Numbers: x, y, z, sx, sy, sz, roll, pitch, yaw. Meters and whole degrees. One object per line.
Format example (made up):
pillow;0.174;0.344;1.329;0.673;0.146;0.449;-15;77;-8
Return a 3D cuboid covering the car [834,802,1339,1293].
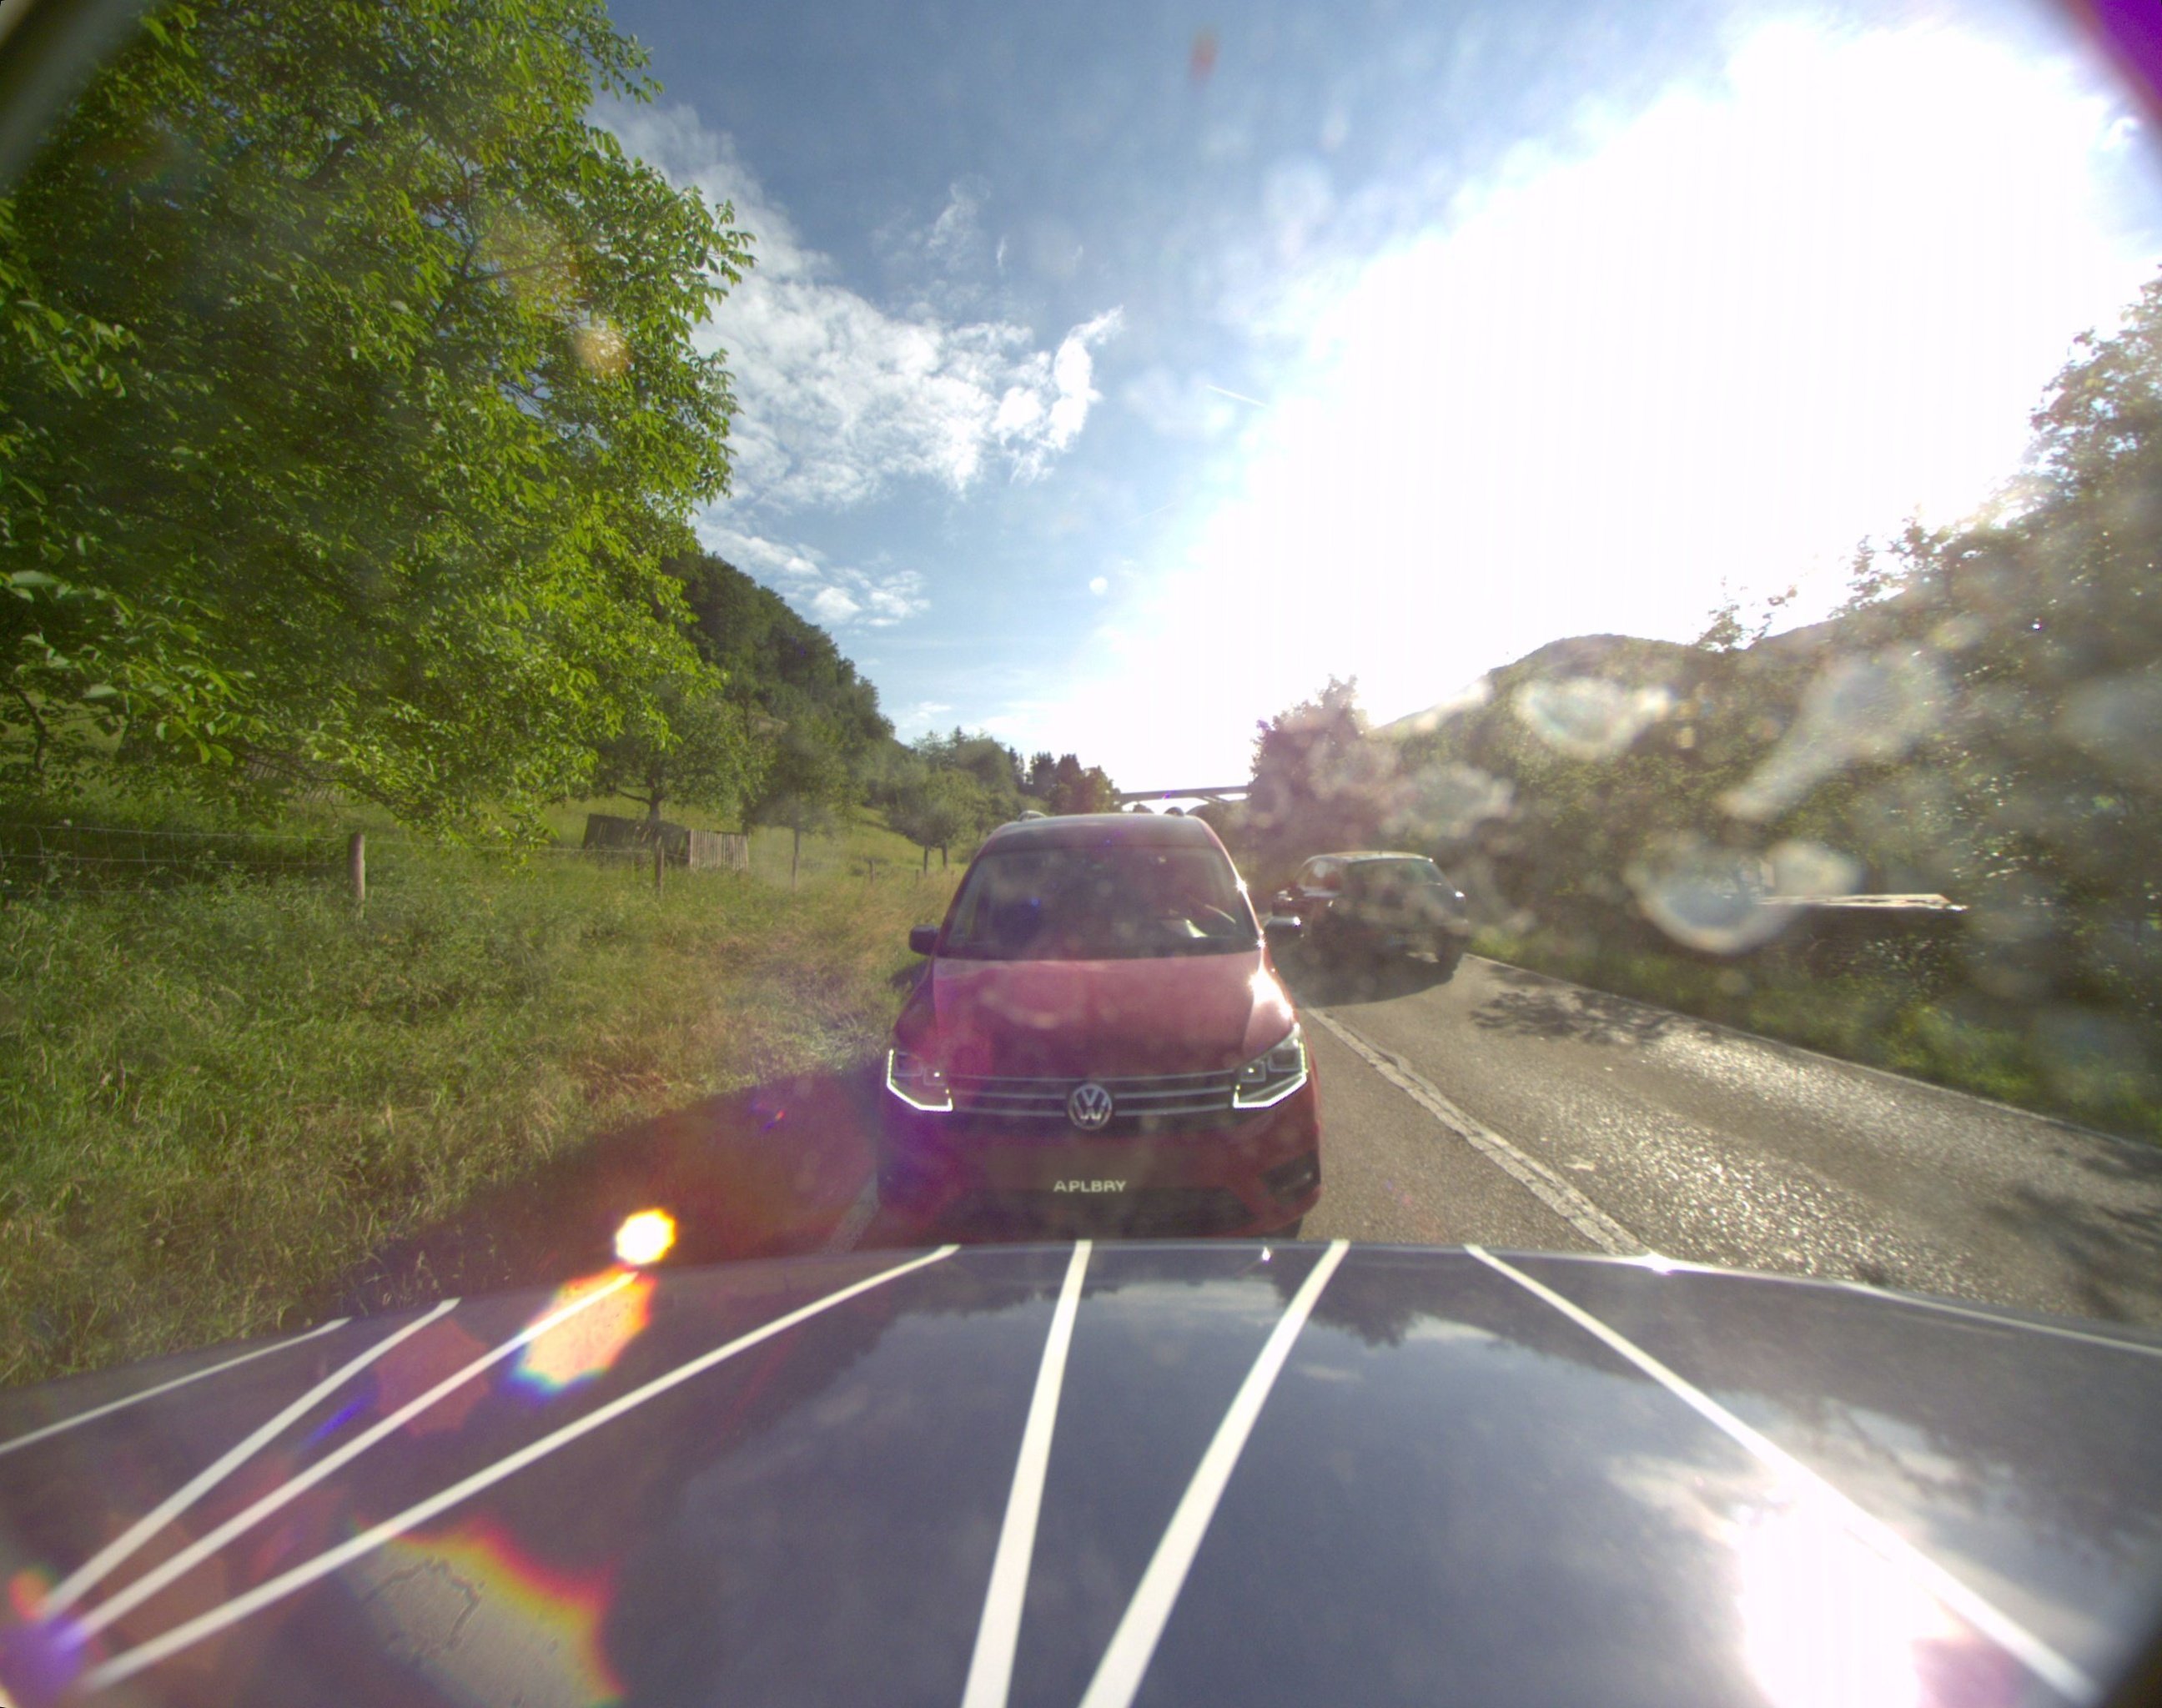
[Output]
car;0.156;0.690;4.950;1.759;1.745;4.430;-2;1;4

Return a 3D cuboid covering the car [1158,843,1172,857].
car;12.218;-0.598;110.668;1.998;2.002;4.001;-2;1;6

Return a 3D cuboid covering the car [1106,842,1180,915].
car;1.695;0.585;20.796;1.758;1.745;4.001;-2;1;5

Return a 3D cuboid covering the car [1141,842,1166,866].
car;6.386;0.010;67.492;1.998;2.002;4.000;-2;1;4

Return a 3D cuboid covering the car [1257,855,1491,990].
car;3.791;0.780;10.625;1.708;1.422;4.050;-2;1;1

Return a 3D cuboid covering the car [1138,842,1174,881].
car;4.024;0.352;41.047;1.758;1.926;4.001;-2;1;5

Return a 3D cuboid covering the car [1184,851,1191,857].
car;26.902;-0.081;191.749;1.597;1.346;4.204;-2;1;5
